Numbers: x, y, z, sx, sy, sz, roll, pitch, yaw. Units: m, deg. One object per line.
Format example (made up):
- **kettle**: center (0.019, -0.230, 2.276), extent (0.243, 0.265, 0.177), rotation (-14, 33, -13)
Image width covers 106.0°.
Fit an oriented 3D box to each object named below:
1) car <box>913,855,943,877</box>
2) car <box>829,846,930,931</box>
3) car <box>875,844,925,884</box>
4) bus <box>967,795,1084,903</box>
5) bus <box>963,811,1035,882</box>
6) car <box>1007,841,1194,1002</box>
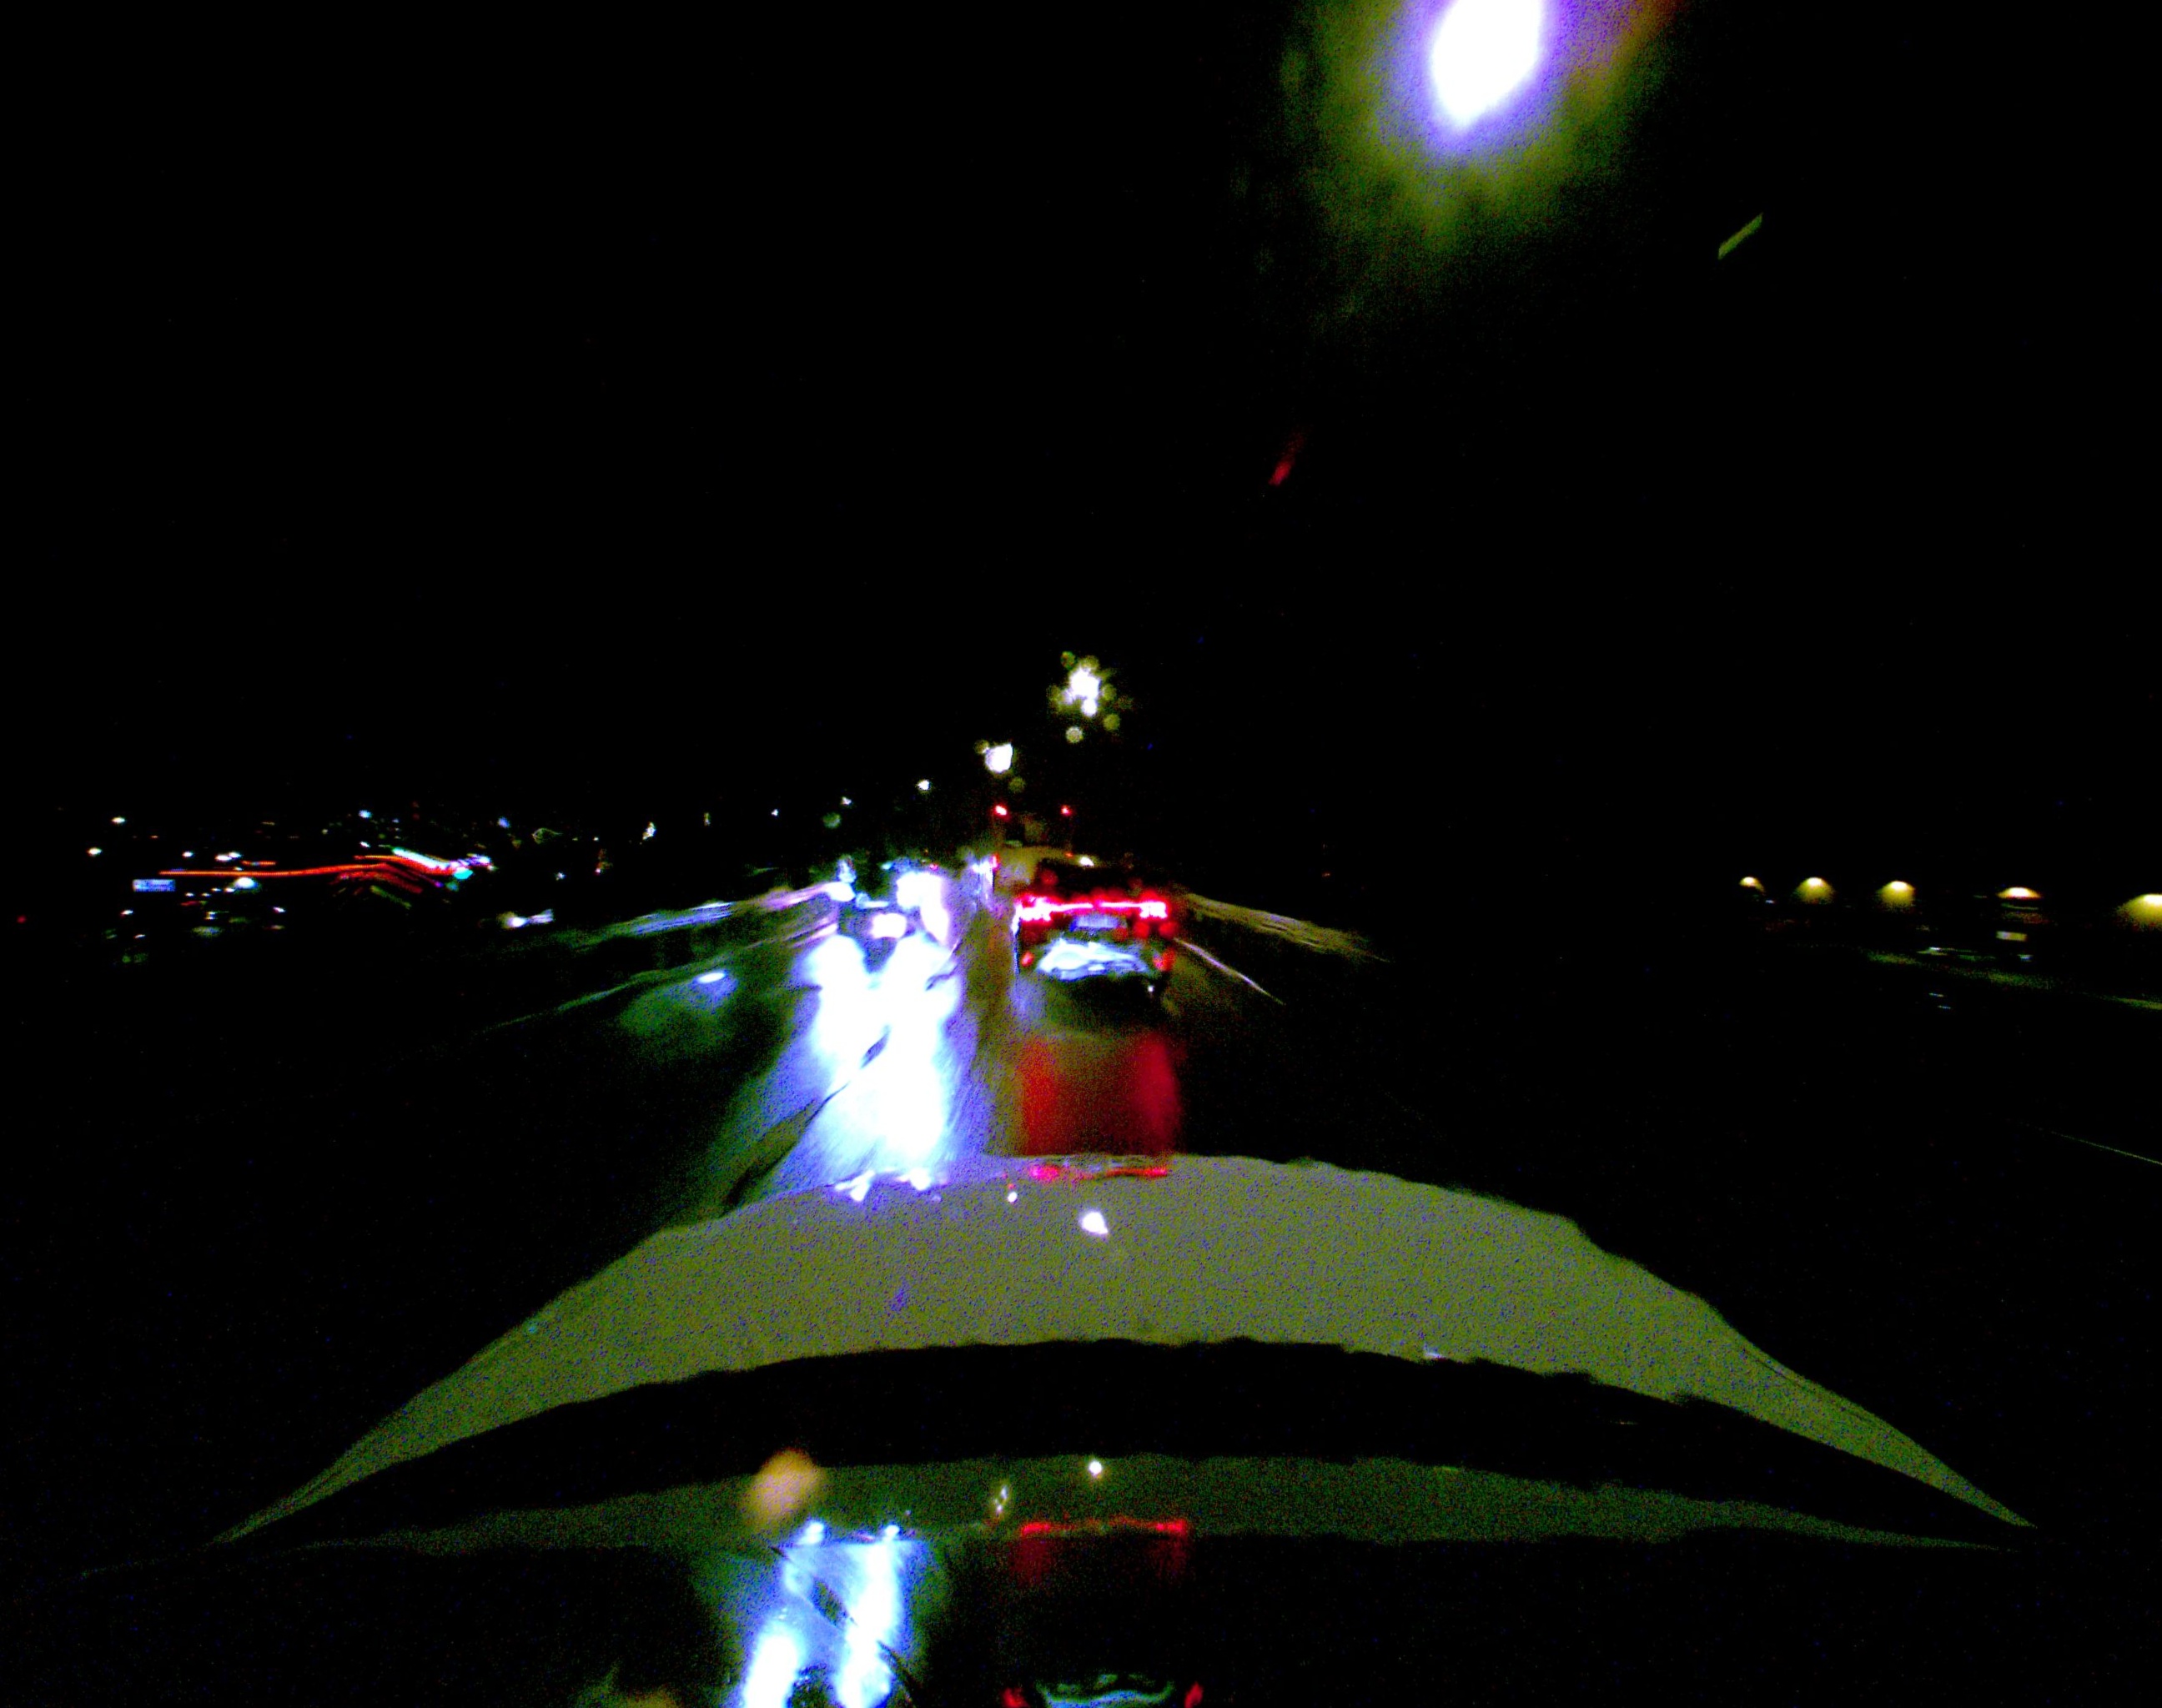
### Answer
- **car**: center (-12.323, 0.992, 65.546), extent (1.643, 1.656, 3.682), rotation (-2, -2, -22)
- **car**: center (-4.617, 0.728, 19.253), extent (1.777, 1.704, 4.303), rotation (-2, 0, -7)
- **car**: center (-10.614, 0.588, 47.489), extent (2.052, 2.170, 5.116), rotation (-1, 0, -22)
- **bus**: center (-2.519, -0.158, 30.566), extent (3.083, 3.132, 12.654), rotation (-2, 0, -10)
- **bus**: center (-4.263, -0.313, 40.786), extent (3.048, 3.132, 8.053), rotation (-2, 0, -9)
- **car**: center (0.188, 0.682, 10.162), extent (1.850, 1.586, 3.999), rotation (-1, 0, -1)
